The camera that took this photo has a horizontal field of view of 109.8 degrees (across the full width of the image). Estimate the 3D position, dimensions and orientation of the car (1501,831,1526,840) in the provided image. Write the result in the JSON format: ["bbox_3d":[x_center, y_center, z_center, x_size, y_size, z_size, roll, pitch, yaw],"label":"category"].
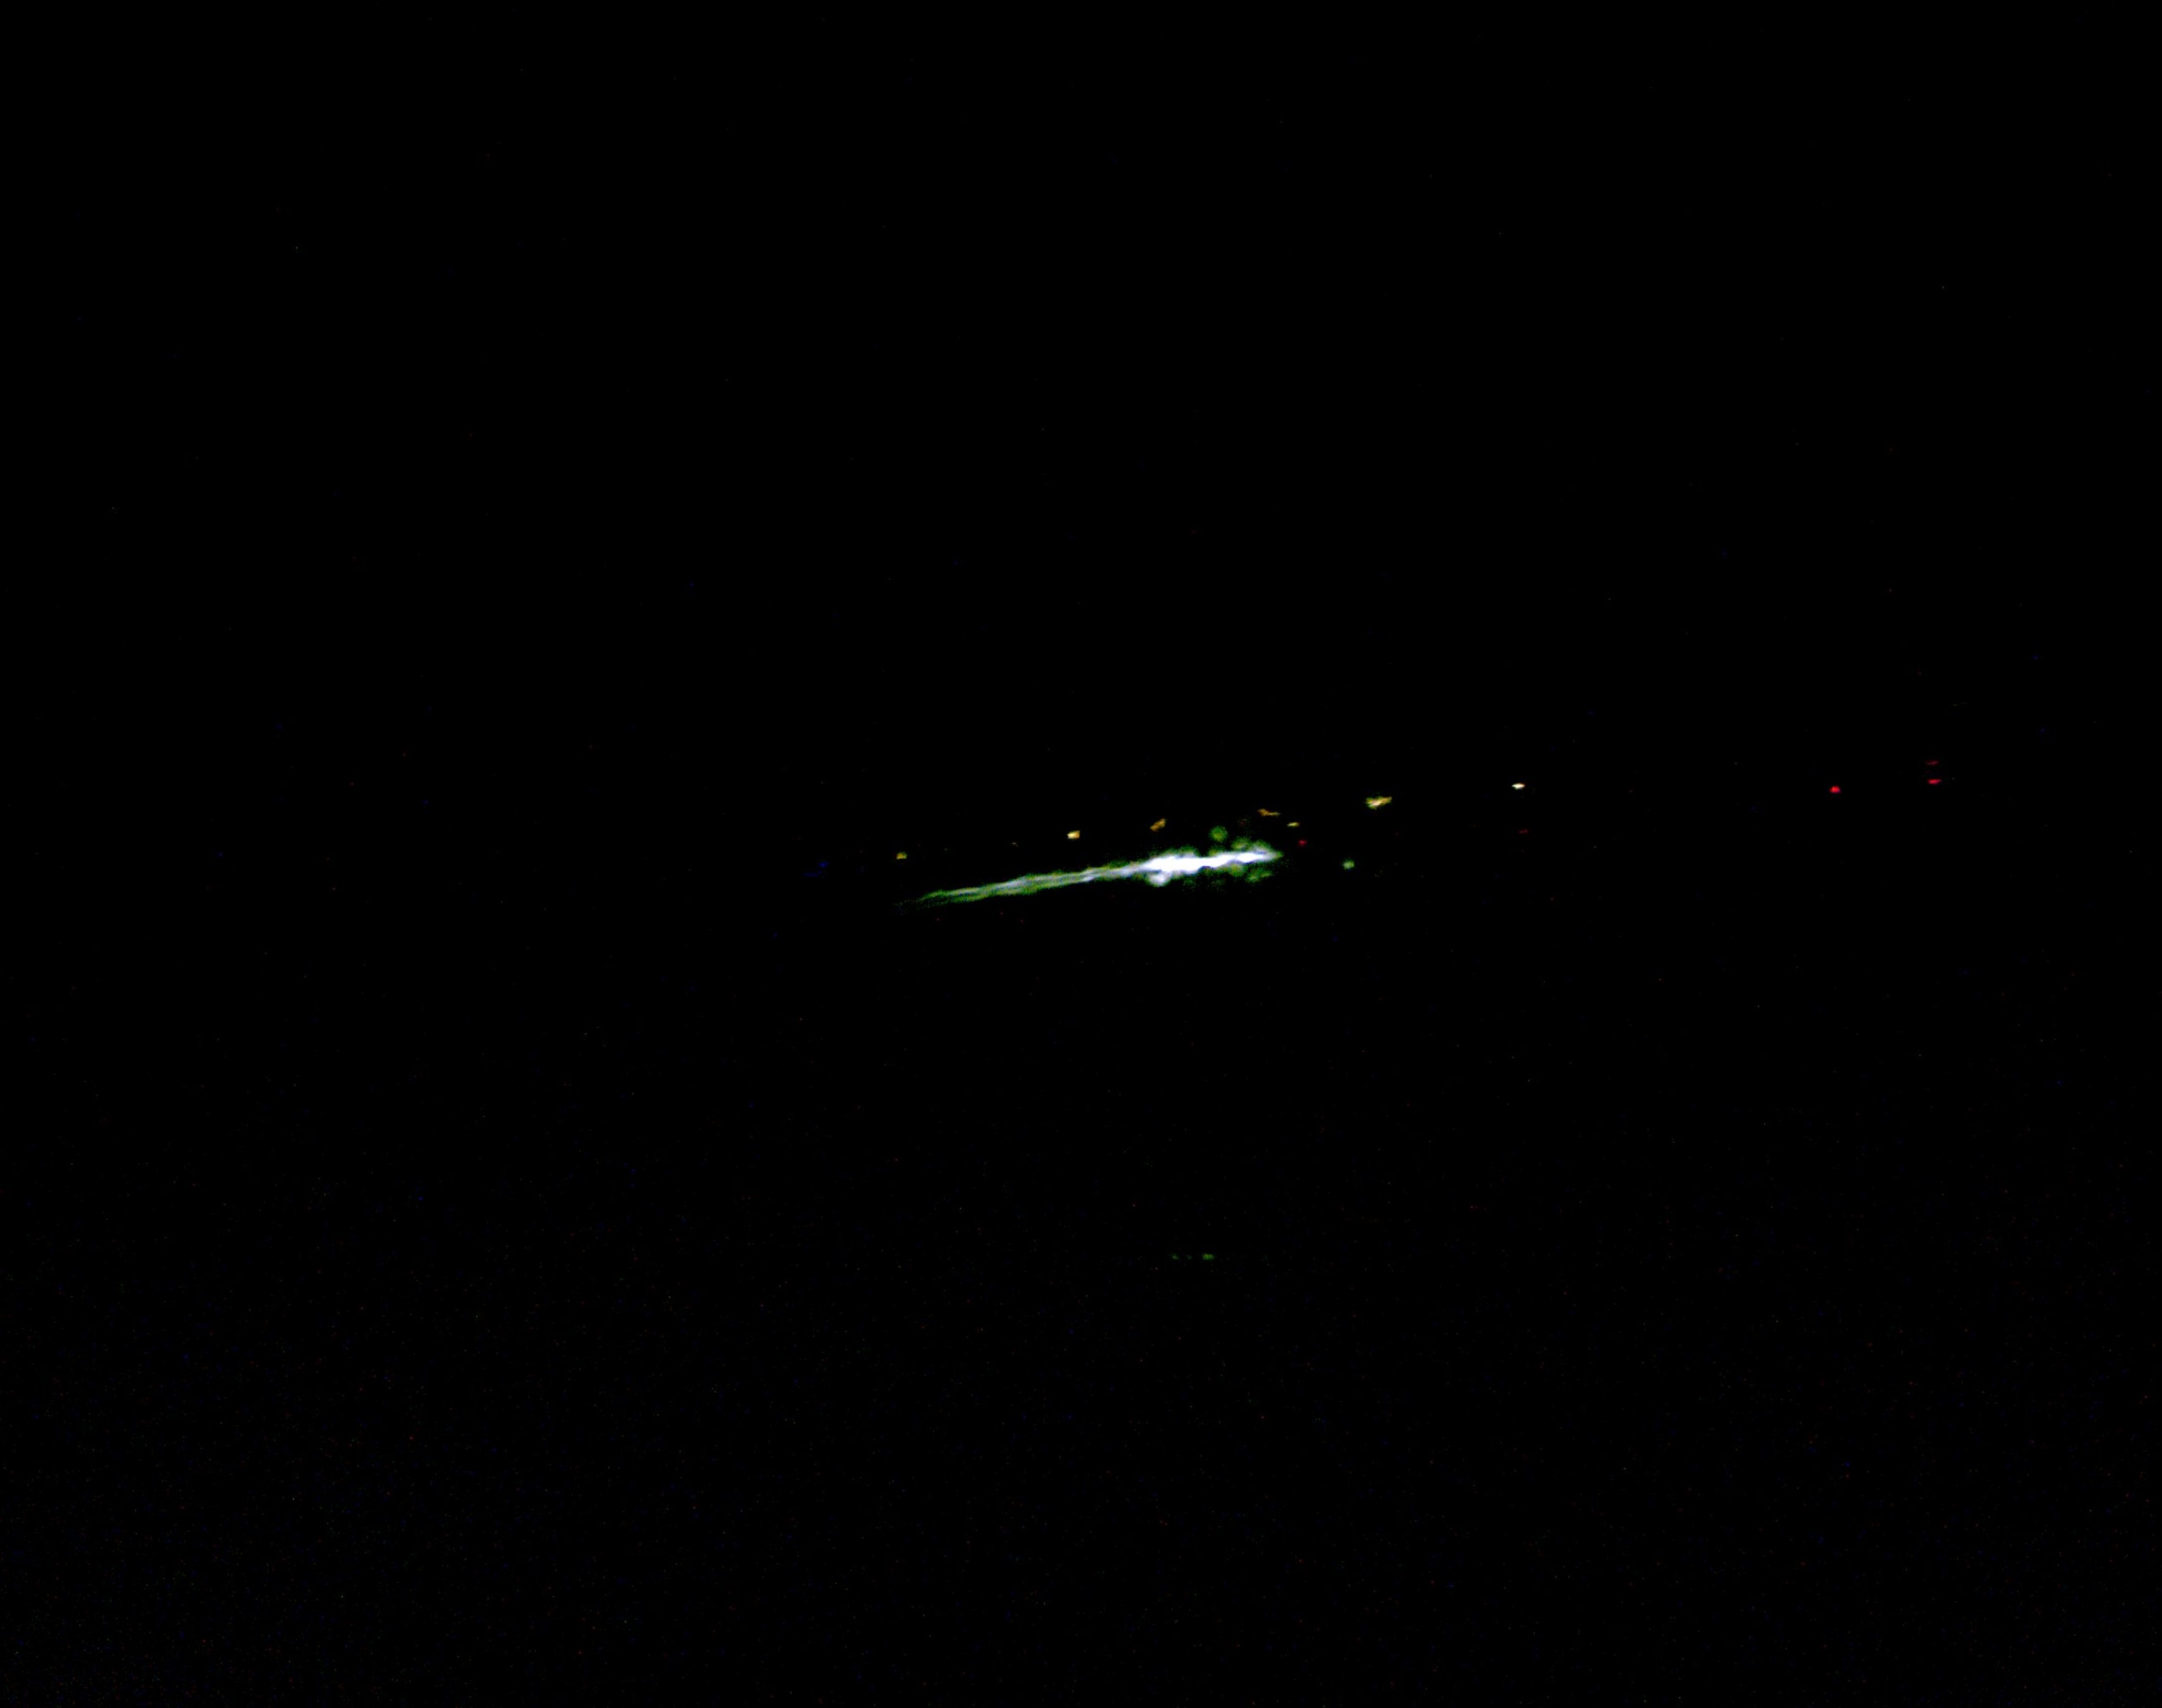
[{"bbox_3d":[86.780,-3.771,152.465,3.990,1.432,1.722,-4,-1,38],"label":"car"}]

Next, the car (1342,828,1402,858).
[{"bbox_3d":[19.163,-0.748,49.911,4.107,1.737,1.995,-4,0,-43],"label":"car"}]
